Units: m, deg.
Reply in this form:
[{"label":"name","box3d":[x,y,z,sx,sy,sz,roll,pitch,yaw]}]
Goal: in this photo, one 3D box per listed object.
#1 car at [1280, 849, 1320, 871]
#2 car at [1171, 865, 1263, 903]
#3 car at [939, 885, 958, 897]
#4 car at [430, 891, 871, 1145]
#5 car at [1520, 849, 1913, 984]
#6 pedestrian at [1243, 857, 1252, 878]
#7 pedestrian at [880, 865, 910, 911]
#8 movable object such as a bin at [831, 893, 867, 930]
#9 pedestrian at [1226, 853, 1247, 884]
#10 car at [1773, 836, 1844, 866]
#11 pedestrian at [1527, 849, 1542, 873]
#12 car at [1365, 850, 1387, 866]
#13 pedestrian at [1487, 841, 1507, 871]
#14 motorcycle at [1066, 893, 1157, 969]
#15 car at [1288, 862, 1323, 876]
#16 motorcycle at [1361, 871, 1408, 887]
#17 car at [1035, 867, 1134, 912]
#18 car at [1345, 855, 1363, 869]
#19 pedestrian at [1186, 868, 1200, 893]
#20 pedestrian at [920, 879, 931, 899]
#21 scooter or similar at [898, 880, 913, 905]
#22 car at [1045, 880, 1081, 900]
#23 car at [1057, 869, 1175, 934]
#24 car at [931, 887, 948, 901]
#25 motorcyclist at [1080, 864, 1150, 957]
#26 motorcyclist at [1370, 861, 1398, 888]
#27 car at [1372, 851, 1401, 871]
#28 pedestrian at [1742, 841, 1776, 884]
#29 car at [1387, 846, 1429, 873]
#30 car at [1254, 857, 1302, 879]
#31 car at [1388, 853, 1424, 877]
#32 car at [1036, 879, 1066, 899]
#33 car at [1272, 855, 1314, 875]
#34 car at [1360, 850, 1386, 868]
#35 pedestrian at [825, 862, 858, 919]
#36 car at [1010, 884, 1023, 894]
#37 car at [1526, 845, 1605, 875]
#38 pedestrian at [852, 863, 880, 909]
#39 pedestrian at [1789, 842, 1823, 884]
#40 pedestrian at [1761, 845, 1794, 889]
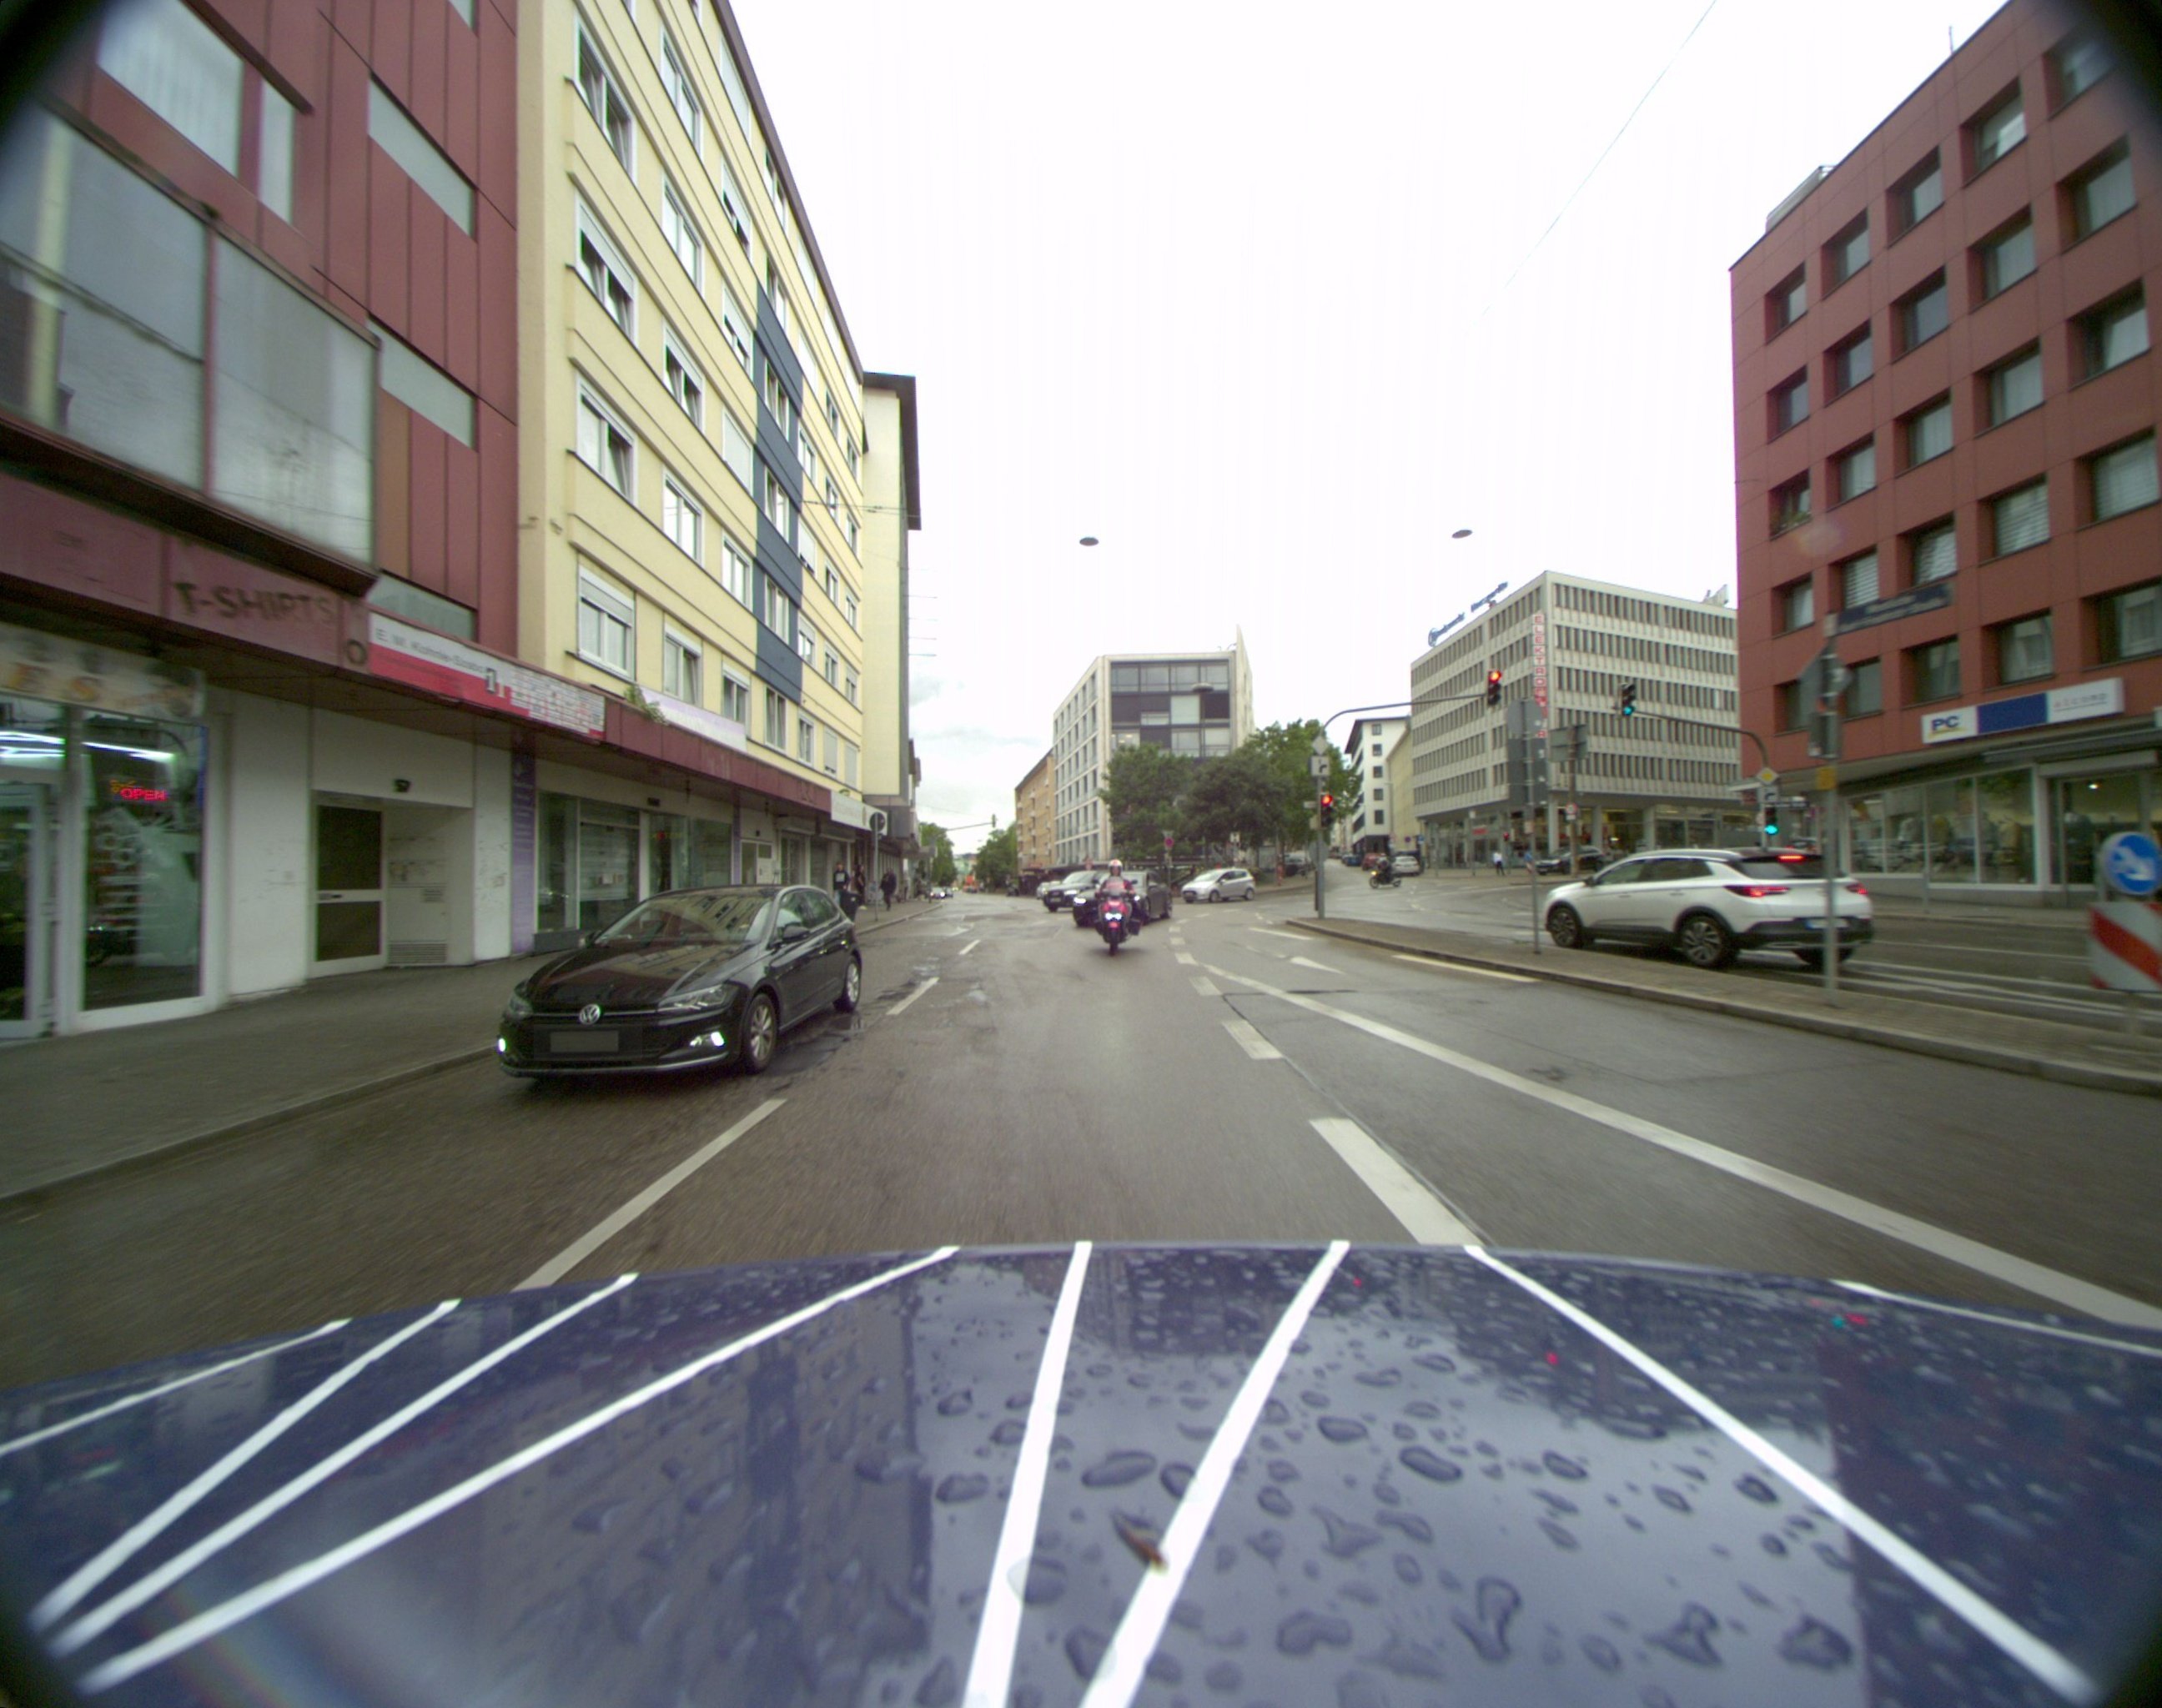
[{"label":"car","box3d":[24.864,0.689,86.125,3.827,2.252,1.989,-4,0,32]},{"label":"car","box3d":[6.544,1.441,36.410,4.111,1.574,1.995,-2,-2,-38]},{"label":"car","box3d":[-20.607,5.750,117.618,2.002,1.610,4.117,-2,-1,-23]},{"label":"car","box3d":[-3.291,1.143,6.807,1.742,1.422,3.880,-1,0,-1]},{"label":"car","box3d":[9.070,0.837,11.504,1.999,1.542,4.428,-3,-2,-4]},{"label":"pedestrian","box3d":[14.684,1.178,66.829,0.592,1.802,0.705,-4,-2,18]},{"label":"pedestrian","box3d":[-7.199,1.320,29.489,0.752,1.712,0.755,-4,-1,21]},{"label":"movable object such as a bin","box3d":[-6.125,1.500,20.062,0.530,0.928,0.674,2,-1,36]},{"label":"pedestrian","box3d":[9.370,0.900,45.834,0.783,1.738,0.788,-7,-2,-8]},{"label":"car","box3d":[42.651,-0.203,44.510,4.385,1.542,1.996,-2,-2,-33]},{"label":"pedestrian","box3d":[30.962,0.477,51.924,0.713,1.613,0.725,-2,0,20]},{"label":"car","box3d":[37.374,0.546,96.314,2.024,1.890,4.434,-3,-2,15]},{"label":"pedestrian","box3d":[27.892,0.144,50.959,0.993,2.002,0.948,-2,0,16]},{"label":"motorcycle","box3d":[0.603,1.345,13.753,1.312,1.128,2.187,-2,0,10]},{"label":"car","box3d":[21.511,1.424,72.721,3.042,1.176,2.054,-4,0,21]},{"label":"motorcycle","box3d":[16.903,1.388,42.330,2.395,0.837,0.712,-2,0,-8]},{"label":"car","box3d":[0.230,1.383,30.260,1.868,1.538,4.112,-4,-1,35]},{"label":"car","box3d":[37.730,1.090,105.068,2.023,1.829,4.050,-4,-2,16]},{"label":"pedestrian","box3d":[8.386,1.973,56.703,0.788,1.802,0.593,-3,-2,-7]},{"label":"pedestrian","box3d":[-13.138,2.937,64.198,0.737,1.635,0.641,-3,-1,-10]},{"label":"scooter or similar","box3d":[-9.830,2.130,42.585,0.377,1.352,1.149,-3,0,5]},{"label":"car","box3d":[-1.353,2.651,55.921,1.975,1.379,3.998,1,-2,-11]},{"label":"car","box3d":[1.120,1.231,21.074,1.996,1.482,4.741,-2,-1,18]},{"label":"car","box3d":[-16.920,4.796,91.039,1.786,1.444,3.997,-3,-2,-13]},{"label":"motorcyclist","box3d":[0.638,1.009,13.852,1.092,1.595,0.954,-3,-1,10]},{"label":"motorcyclist","box3d":[16.860,1.126,42.346,1.114,1.433,0.911,-2,0,-9]},{"label":"car","box3d":[29.079,0.705,72.424,2.023,1.739,4.621,-4,-2,17]},{"label":"pedestrian","box3d":[27.715,0.351,31.043,0.744,1.737,0.732,-2,-1,-28]},{"label":"car","box3d":[27.341,0.471,63.746,2.094,2.078,4.619,-3,-2,9]},{"label":"car","box3d":[16.110,1.107,62.130,3.539,1.550,1.742,-4,0,21]},{"label":"car","box3d":[24.937,0.853,58.510,1.999,1.621,4.621,-4,-2,17]},{"label":"car","box3d":[-2.479,2.875,62.771,1.811,1.489,3.998,-3,-2,-11]},{"label":"car","box3d":[19.429,1.000,69.656,3.539,1.550,1.742,-4,0,18]},{"label":"car","box3d":[30.294,0.542,79.019,1.931,1.661,4.451,-3,-2,15]},{"label":"pedestrian","box3d":[-7.552,1.145,23.983,0.838,1.753,0.617,2,-3,-7]},{"label":"car","box3d":[-10.536,5.638,123.514,1.828,1.564,3.998,-3,-2,-9]},{"label":"car","box3d":[30.124,0.364,47.266,4.003,1.673,1.997,-2,-1,-19]},{"label":"pedestrian","box3d":[-8.394,1.240,29.704,0.616,1.752,0.790,-4,-1,21]},{"label":"pedestrian","box3d":[29.110,0.376,30.507,0.734,1.619,0.693,-2,-1,-25]},{"label":"pedestrian","box3d":[28.716,0.540,31.332,0.700,1.737,0.732,-2,-1,-28]}]
